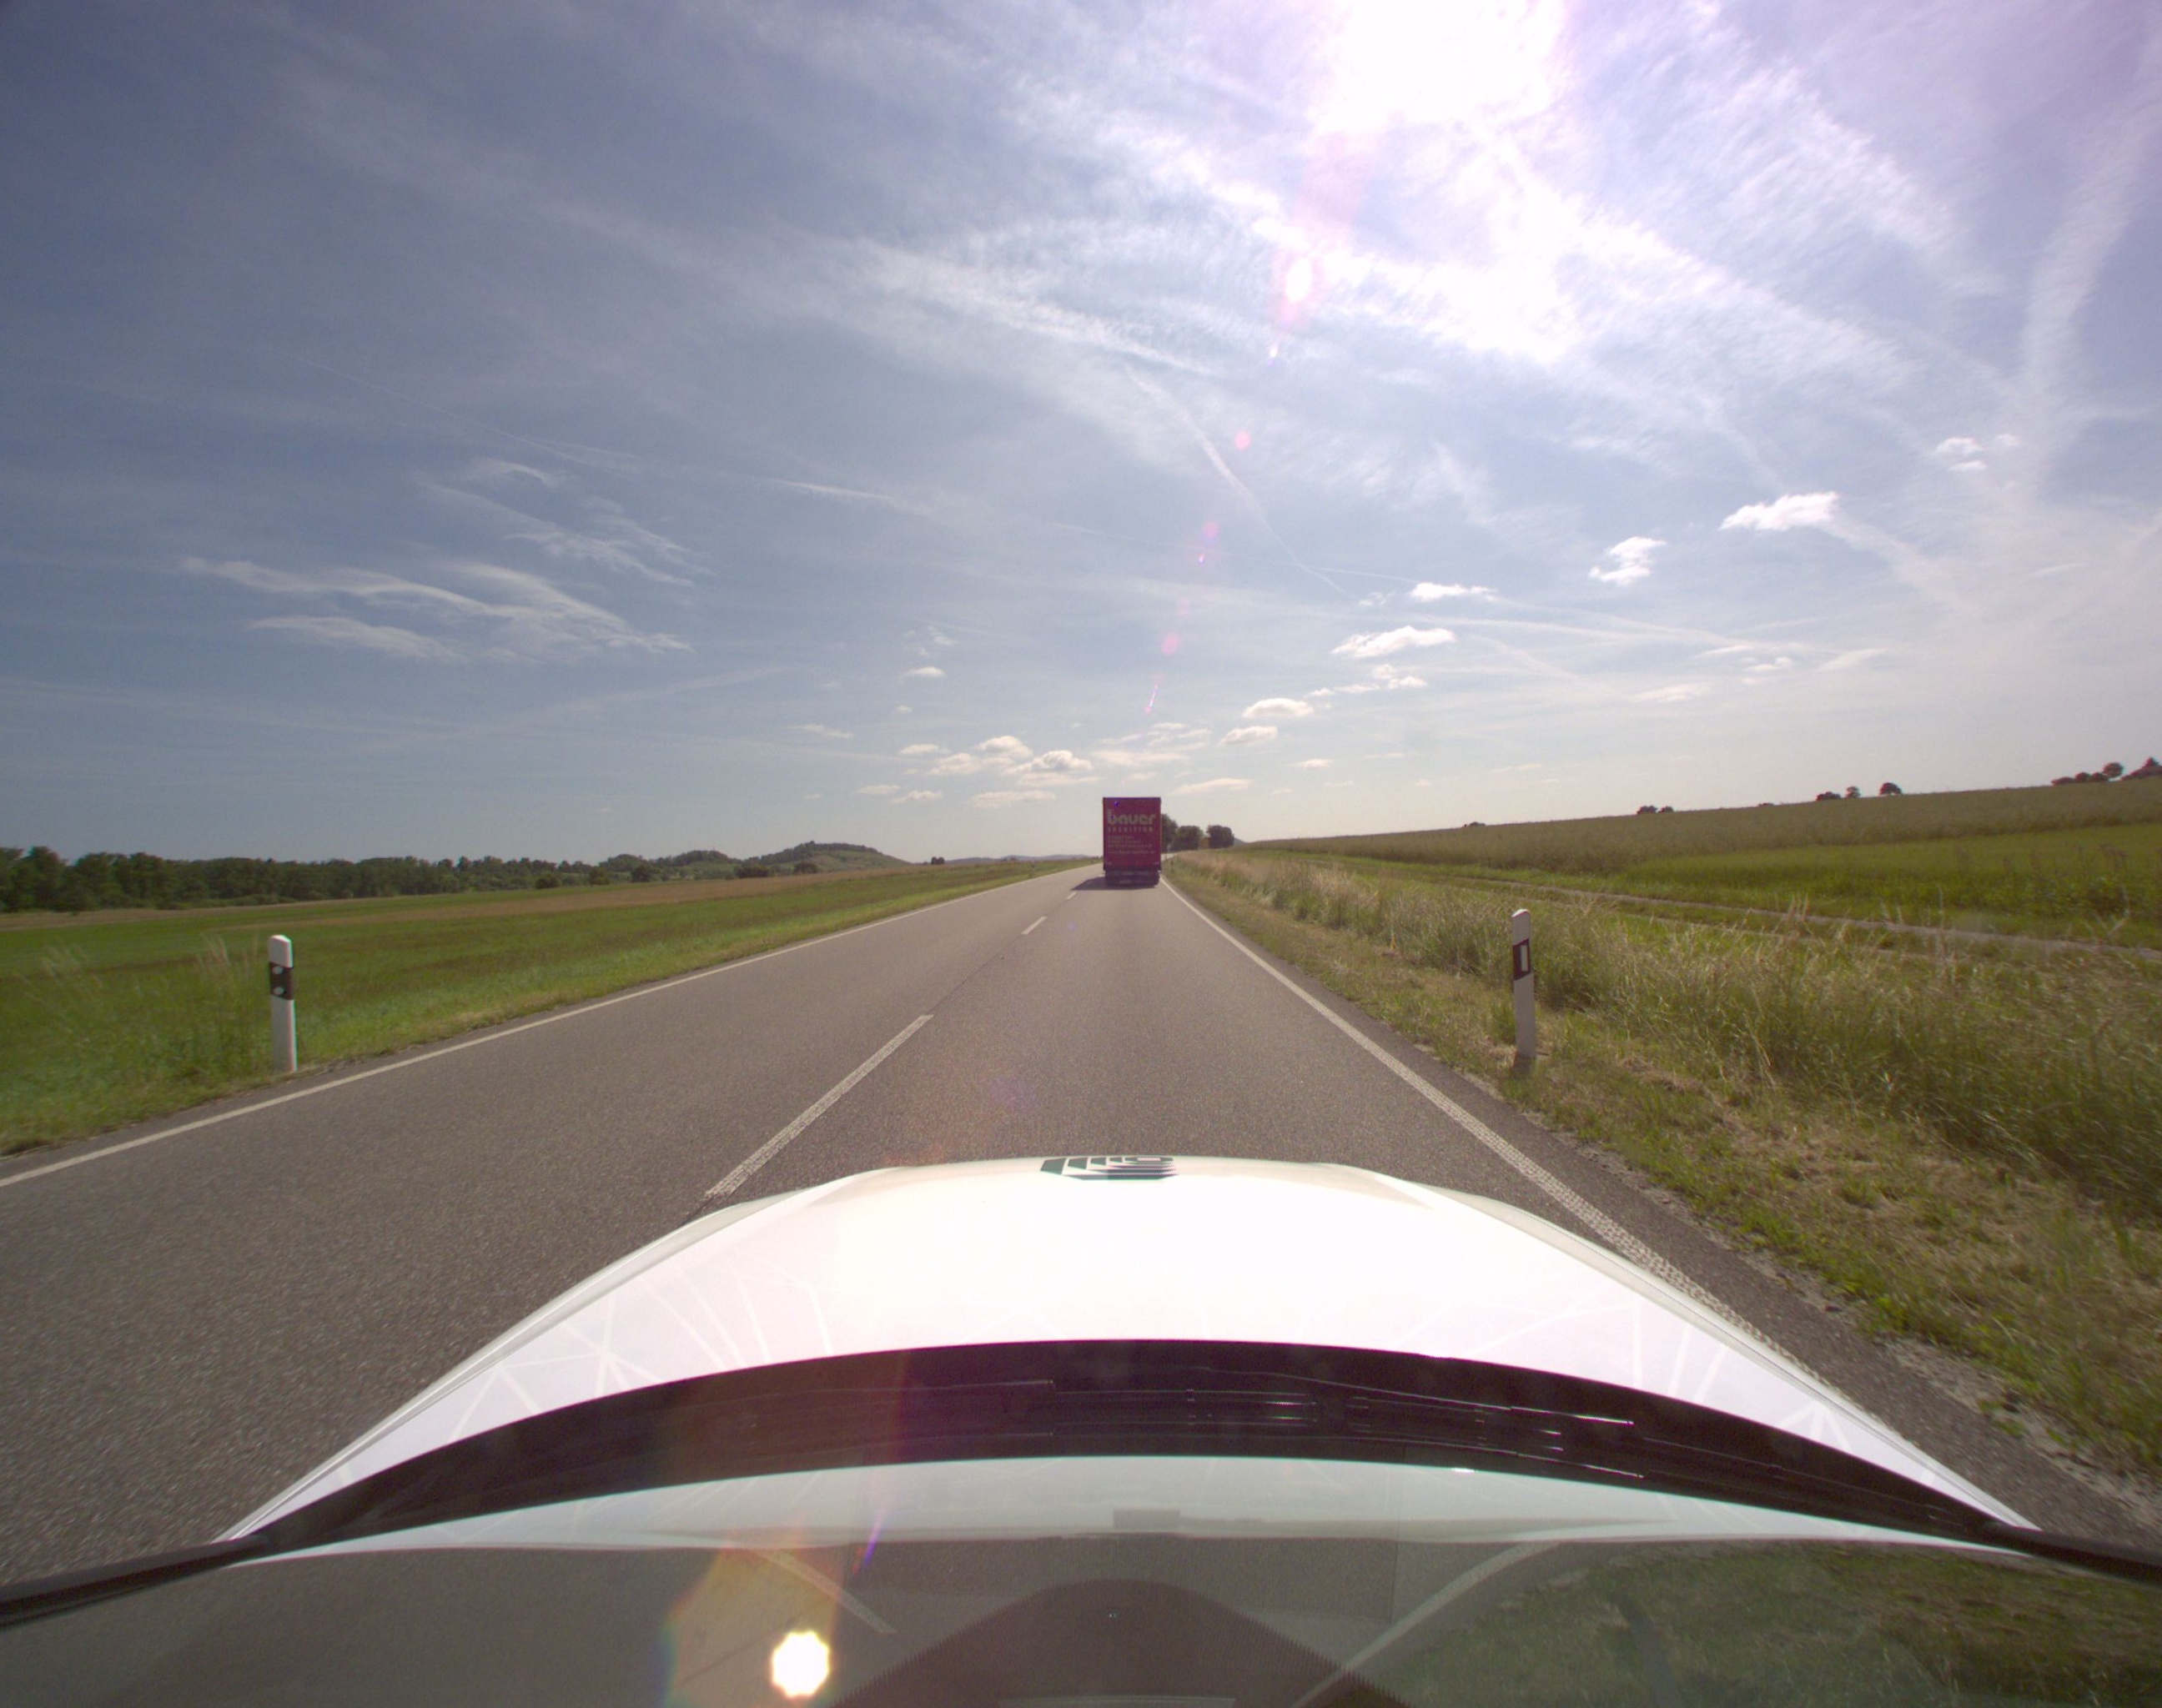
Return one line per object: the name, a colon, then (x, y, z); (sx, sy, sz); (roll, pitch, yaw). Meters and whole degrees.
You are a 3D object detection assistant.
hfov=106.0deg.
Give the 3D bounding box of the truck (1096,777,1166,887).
truck: (2.529, -0.956, 39.652); (2.961, 4.713, 9.378); (-1, 0, 5)
